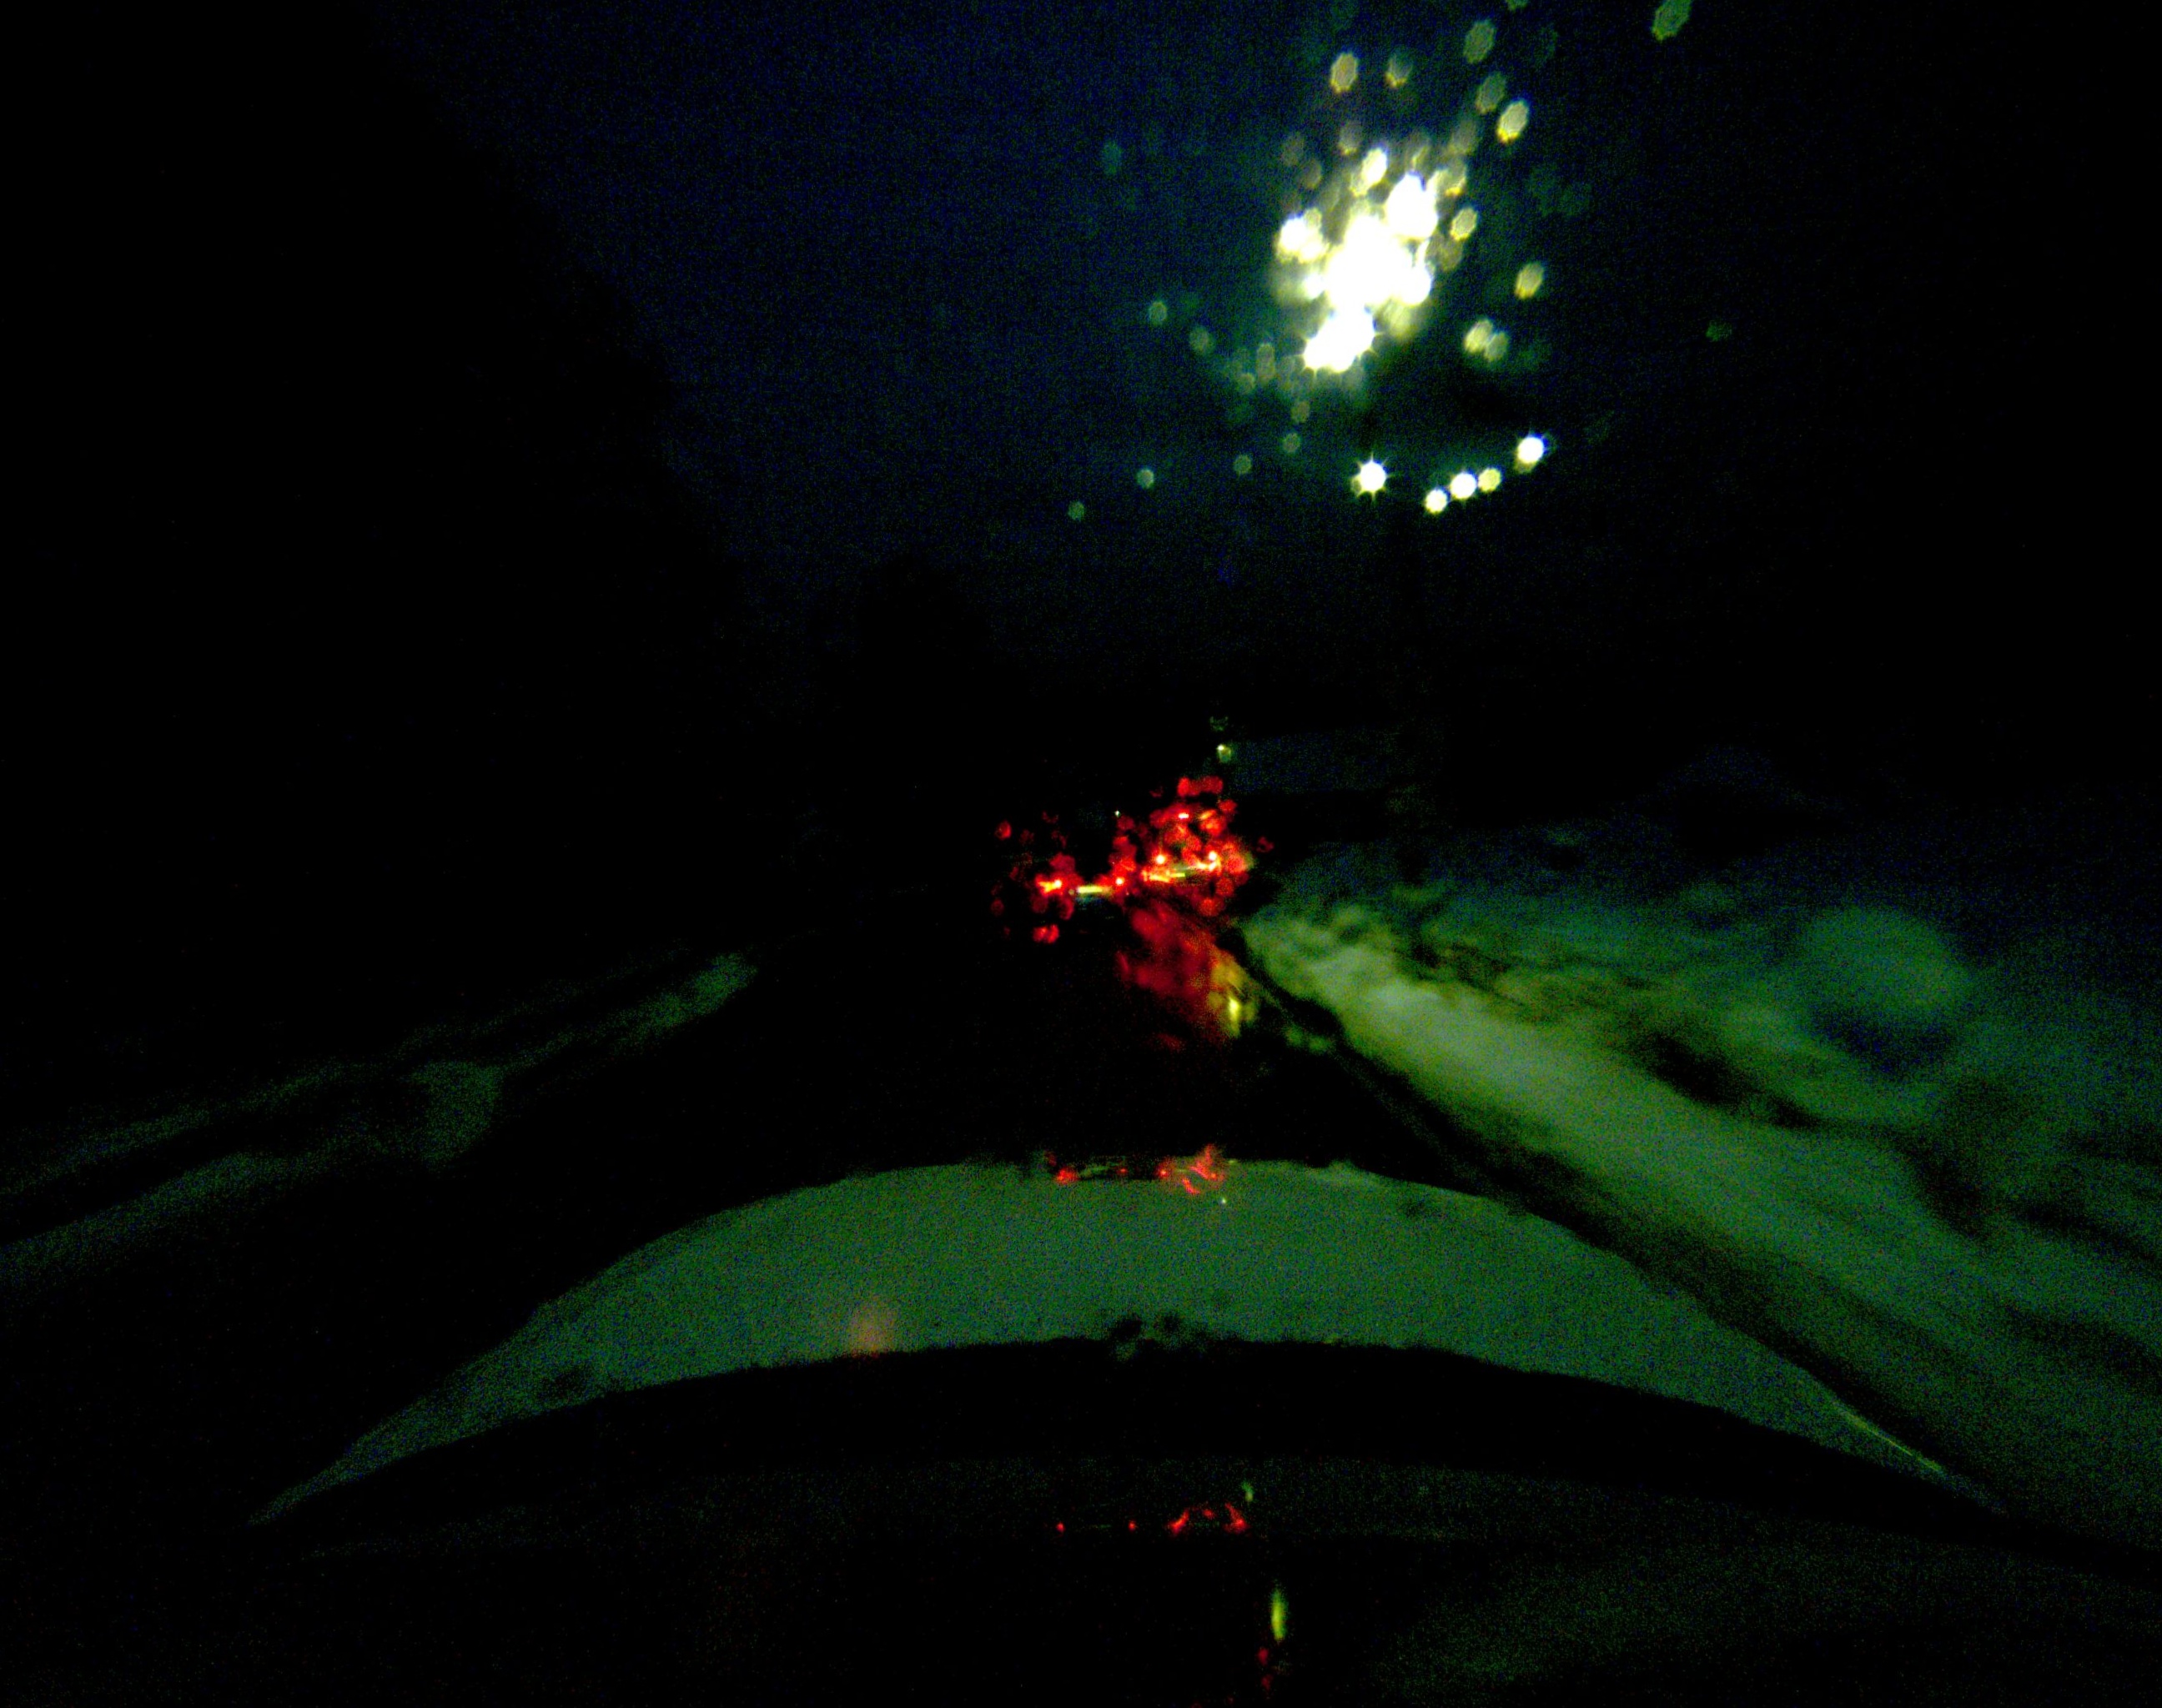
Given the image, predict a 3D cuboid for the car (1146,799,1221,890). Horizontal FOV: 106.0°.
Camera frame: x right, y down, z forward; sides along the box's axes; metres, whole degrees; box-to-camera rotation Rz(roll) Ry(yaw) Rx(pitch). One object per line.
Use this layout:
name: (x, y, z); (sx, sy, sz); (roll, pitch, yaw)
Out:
car: (3.707, -0.282, 30.496); (2.424, 3.019, 5.331); (-2, -1, 4)

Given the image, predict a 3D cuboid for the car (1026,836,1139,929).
car: (0.065, 0.599, 19.137); (2.266, 1.840, 5.007); (-2, 0, 1)

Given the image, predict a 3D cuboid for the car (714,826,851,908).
car: (-10.410, 0.378, 29.119); (2.461, 2.571, 6.229); (-2, 1, 1)
